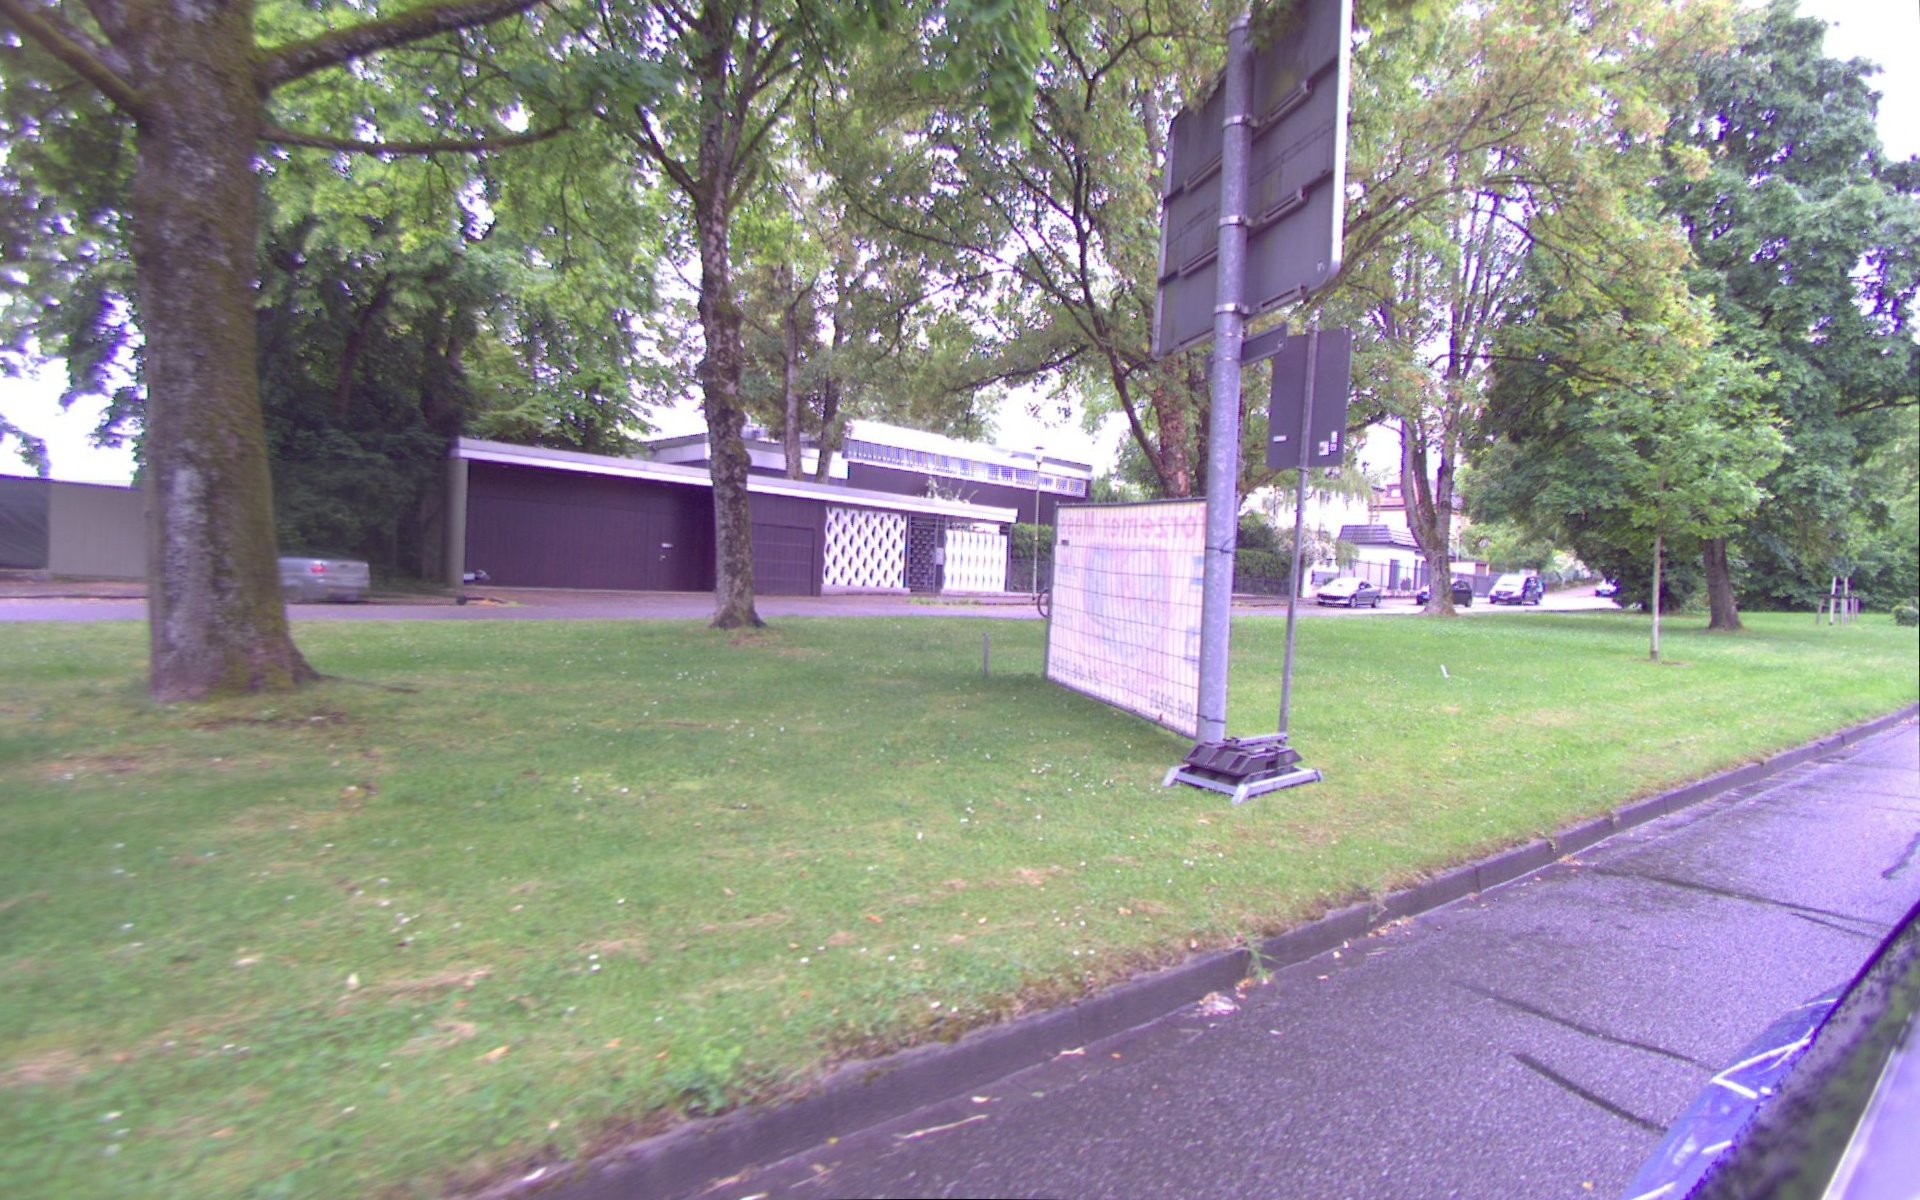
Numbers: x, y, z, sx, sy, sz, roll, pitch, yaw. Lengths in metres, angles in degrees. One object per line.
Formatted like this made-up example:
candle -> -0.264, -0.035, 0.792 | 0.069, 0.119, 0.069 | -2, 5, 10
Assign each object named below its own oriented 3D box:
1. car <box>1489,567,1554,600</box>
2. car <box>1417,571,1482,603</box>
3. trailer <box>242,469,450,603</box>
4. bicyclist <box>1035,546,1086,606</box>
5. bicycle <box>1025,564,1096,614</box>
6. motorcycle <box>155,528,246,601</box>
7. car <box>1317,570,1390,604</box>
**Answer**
car -> 35.465, -1.079, 63.860 | 4.986, 1.901, 2.162 | -2, 4, -44
car -> 26.850, -0.749, 55.446 | 3.968, 1.644, 1.904 | -2, 4, -44
trailer -> -10.906, -1.089, 18.060 | 1.437, 2.181, 2.903 | 4, 3, 44
bicyclist -> 2.426, -0.584, 24.492 | 0.982, 1.408, 0.746 | 0, 2, -40
bicycle -> 2.448, -0.277, 24.507 | 1.830, 1.152, 0.597 | 0, 2, -40
motorcycle -> -12.334, -0.575, 16.495 | 0.645, 1.106, 1.896 | 2, 1, -20
car -> 18.205, -0.627, 46.764 | 3.648, 1.392, 1.684 | -1, 5, -43
